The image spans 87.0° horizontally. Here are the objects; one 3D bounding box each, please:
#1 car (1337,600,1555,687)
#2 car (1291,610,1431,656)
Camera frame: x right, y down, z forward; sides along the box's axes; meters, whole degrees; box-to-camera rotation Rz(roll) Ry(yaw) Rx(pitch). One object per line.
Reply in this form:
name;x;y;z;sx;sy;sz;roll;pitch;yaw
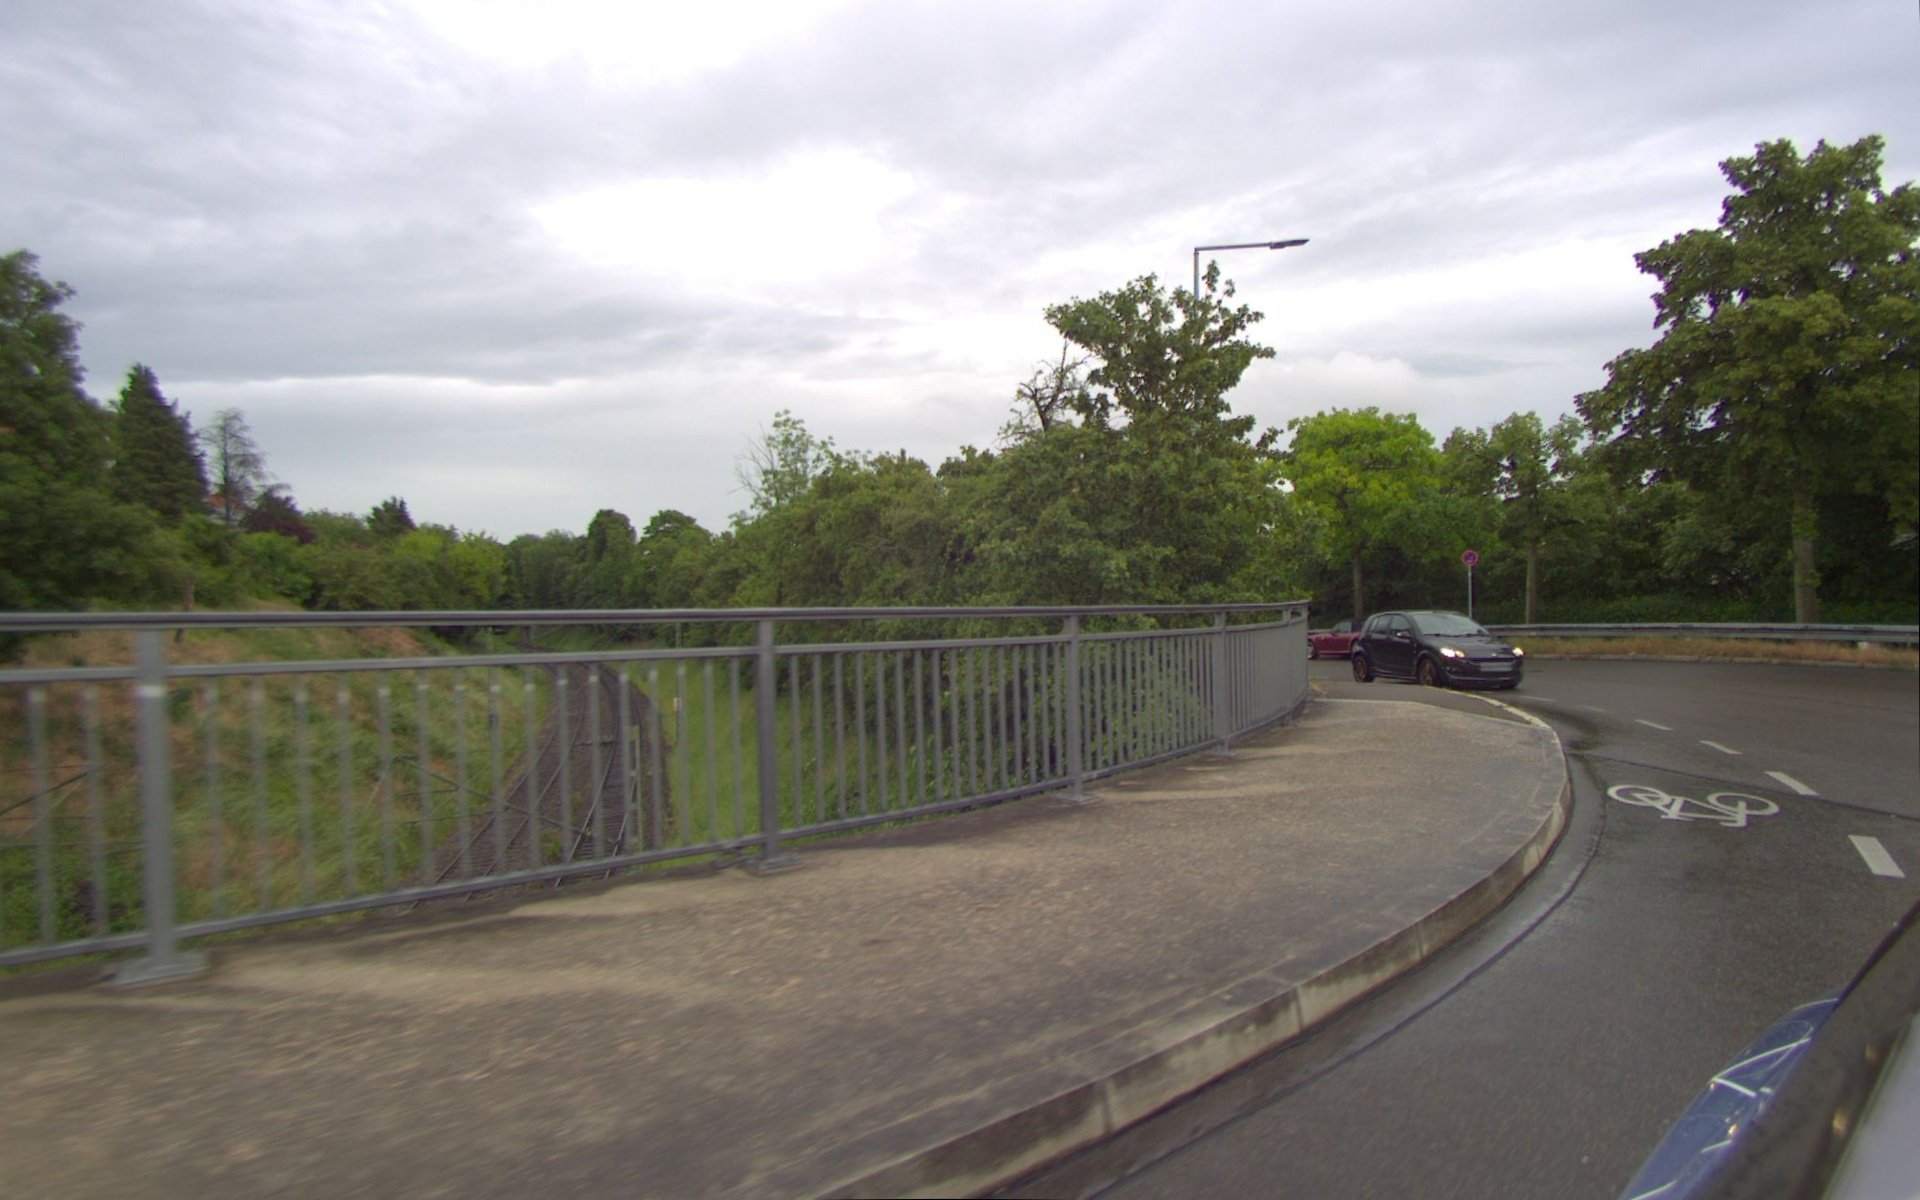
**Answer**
car;9.022;0.832;19.279;1.769;1.445;4.384;1;-3;-4
car;12.537;1.030;31.954;1.757;1.314;4.333;-1;-1;-17
